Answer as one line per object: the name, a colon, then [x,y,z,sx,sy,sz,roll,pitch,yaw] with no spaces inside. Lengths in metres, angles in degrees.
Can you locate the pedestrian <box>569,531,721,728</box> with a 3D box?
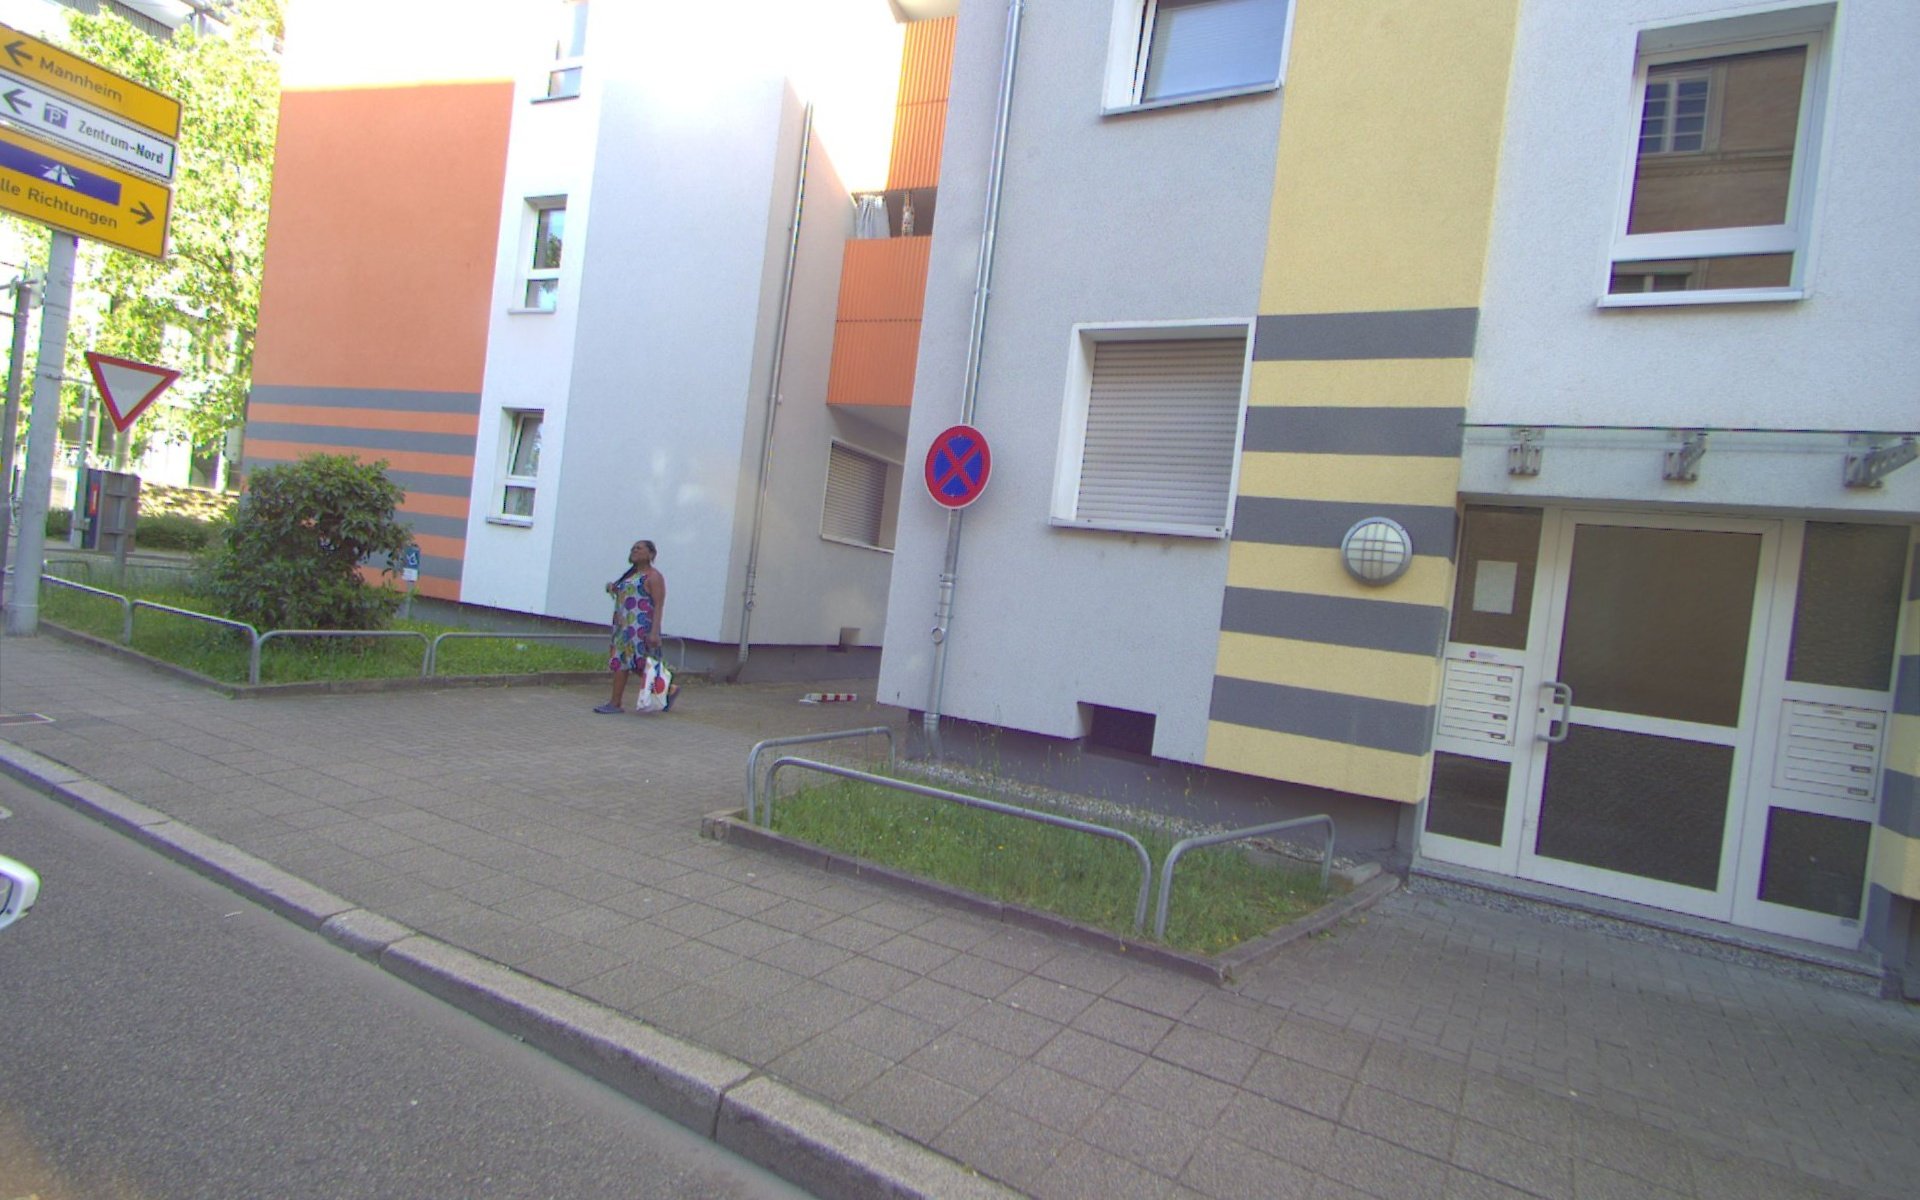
pedestrian: [-2.821,0.254,8.997,0.943,1.594,0.747,9,3,39]

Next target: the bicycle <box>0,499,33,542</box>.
bicycle: [-26.424,-2.242,27.277,1.883,1.062,0.463,7,1,-10]
